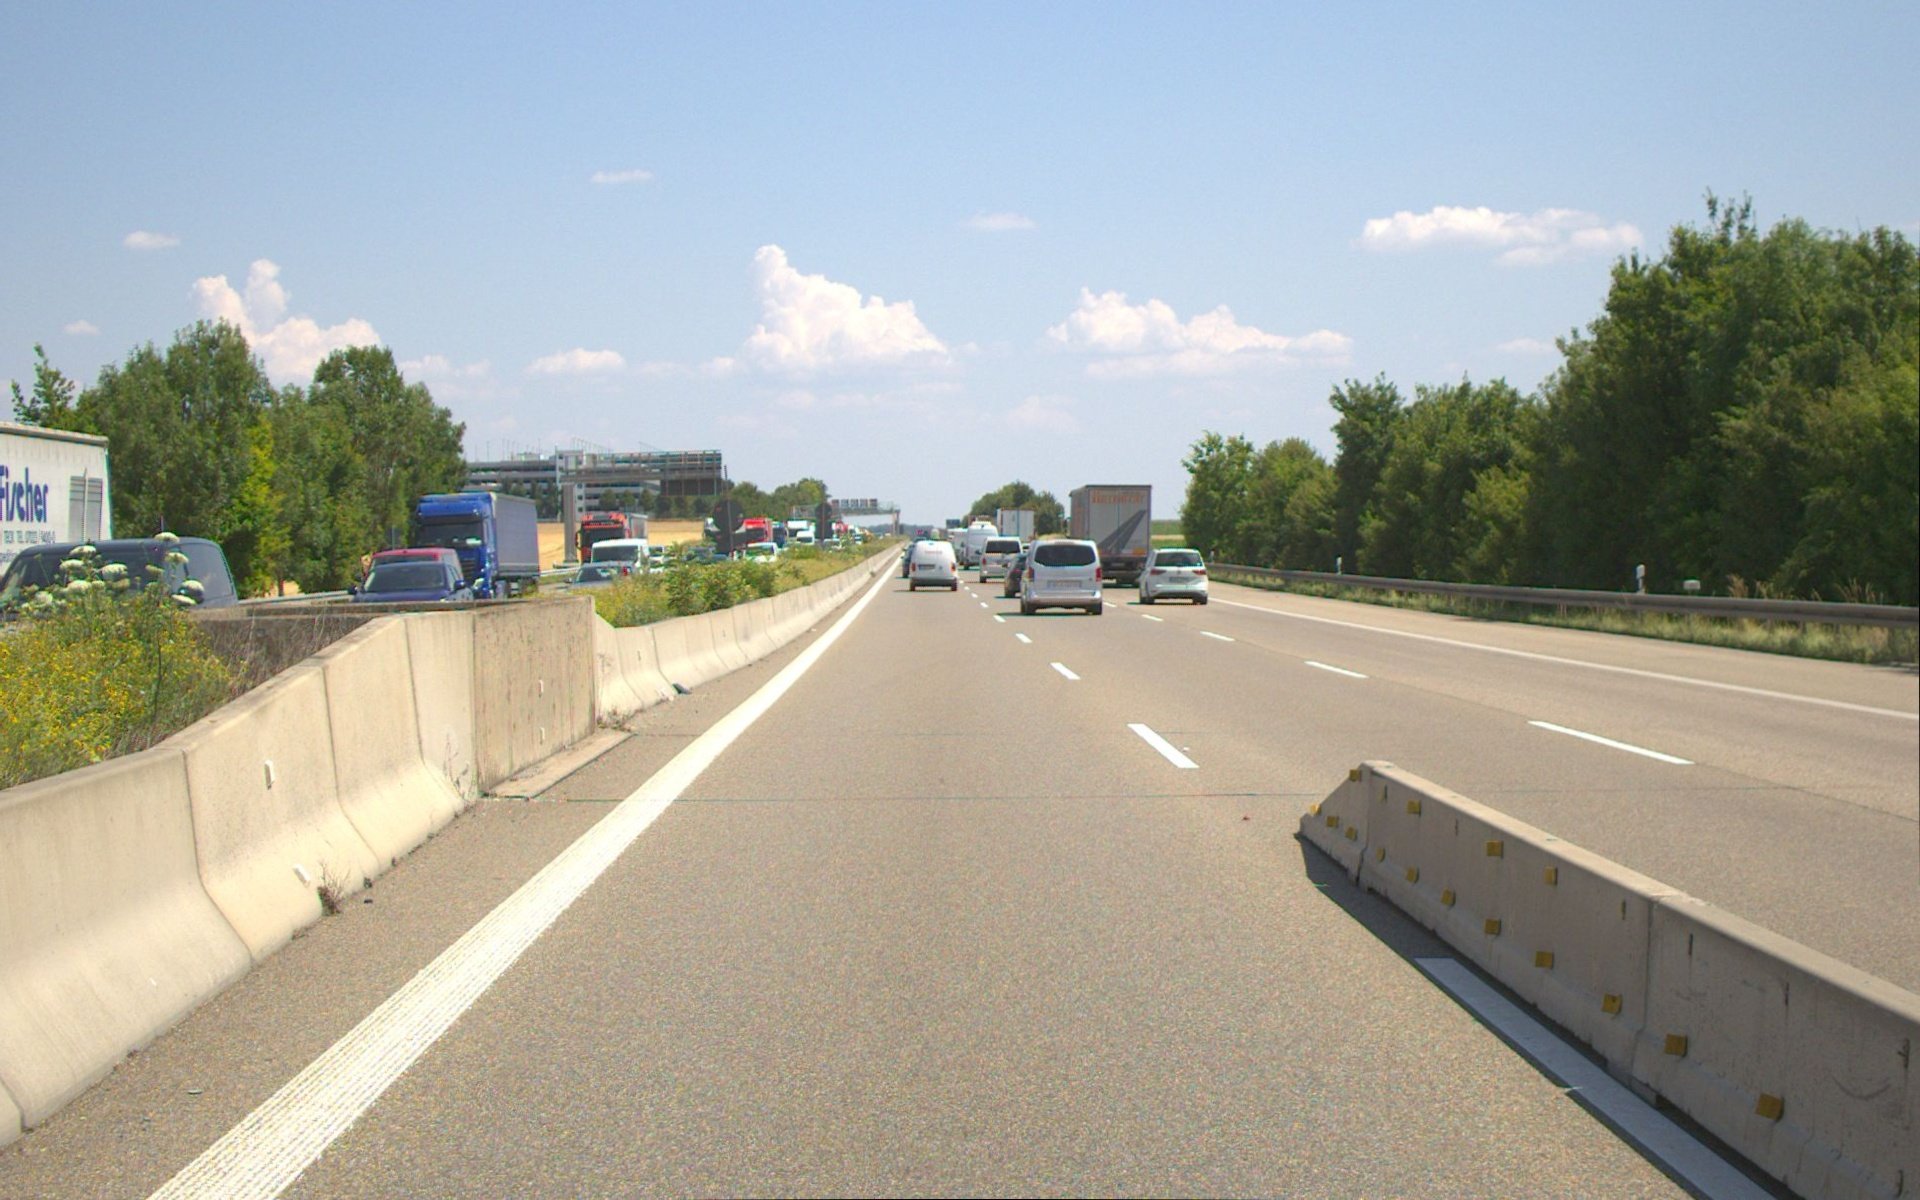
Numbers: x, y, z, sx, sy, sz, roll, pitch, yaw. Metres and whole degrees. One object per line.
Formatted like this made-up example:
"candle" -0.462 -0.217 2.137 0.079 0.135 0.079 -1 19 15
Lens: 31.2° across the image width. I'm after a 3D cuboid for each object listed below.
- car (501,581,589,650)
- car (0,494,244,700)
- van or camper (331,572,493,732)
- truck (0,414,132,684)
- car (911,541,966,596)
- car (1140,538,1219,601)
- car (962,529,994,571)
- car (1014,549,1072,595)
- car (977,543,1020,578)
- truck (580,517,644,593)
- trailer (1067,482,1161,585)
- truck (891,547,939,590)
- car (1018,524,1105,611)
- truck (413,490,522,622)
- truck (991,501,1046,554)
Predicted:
"car" -10.176 0.363 84.562 1.684 1.561 4.563 -2 1 -1
"car" -8.692 -0.047 35.189 1.813 1.939 4.615 -1 1 -1
"van or camper" -9.515 0.853 59.978 2.148 2.619 4.398 -1 1 -1
"truck" -16.330 -0.756 55.274 2.592 4.224 14.123 -3 1 -1
"car" -0.807 -1.145 126.881 1.993 2.007 4.000 0 0 -1
"car" 6.414 -0.879 100.733 1.993 1.788 4.000 0 0 -1
"car" 1.032 -2.886 199.738 1.773 2.384 4.000 0 0 -1
"car" 2.693 -0.898 112.264 1.773 1.442 4.000 0 0 -1
"car" 1.666 -1.711 149.482 1.773 1.442 4.000 0 0 -1
"truck" -18.035 -2.343 178.405 2.856 3.842 4.000 -2 1 -1
"trailer" 6.136 -2.607 138.375 3.277 3.953 9.113 0 0 -1
"truck" -2.185 -1.541 166.354 2.211 2.007 4.972 -1 1 -1
"car" 2.502 -0.788 85.688 1.993 2.112 4.000 0 0 -1
"truck" -16.934 -1.522 118.457 2.865 4.335 5.586 -2 1 0
"truck" 4.462 -5.498 262.437 3.815 3.891 9.581 -1 1 -1
